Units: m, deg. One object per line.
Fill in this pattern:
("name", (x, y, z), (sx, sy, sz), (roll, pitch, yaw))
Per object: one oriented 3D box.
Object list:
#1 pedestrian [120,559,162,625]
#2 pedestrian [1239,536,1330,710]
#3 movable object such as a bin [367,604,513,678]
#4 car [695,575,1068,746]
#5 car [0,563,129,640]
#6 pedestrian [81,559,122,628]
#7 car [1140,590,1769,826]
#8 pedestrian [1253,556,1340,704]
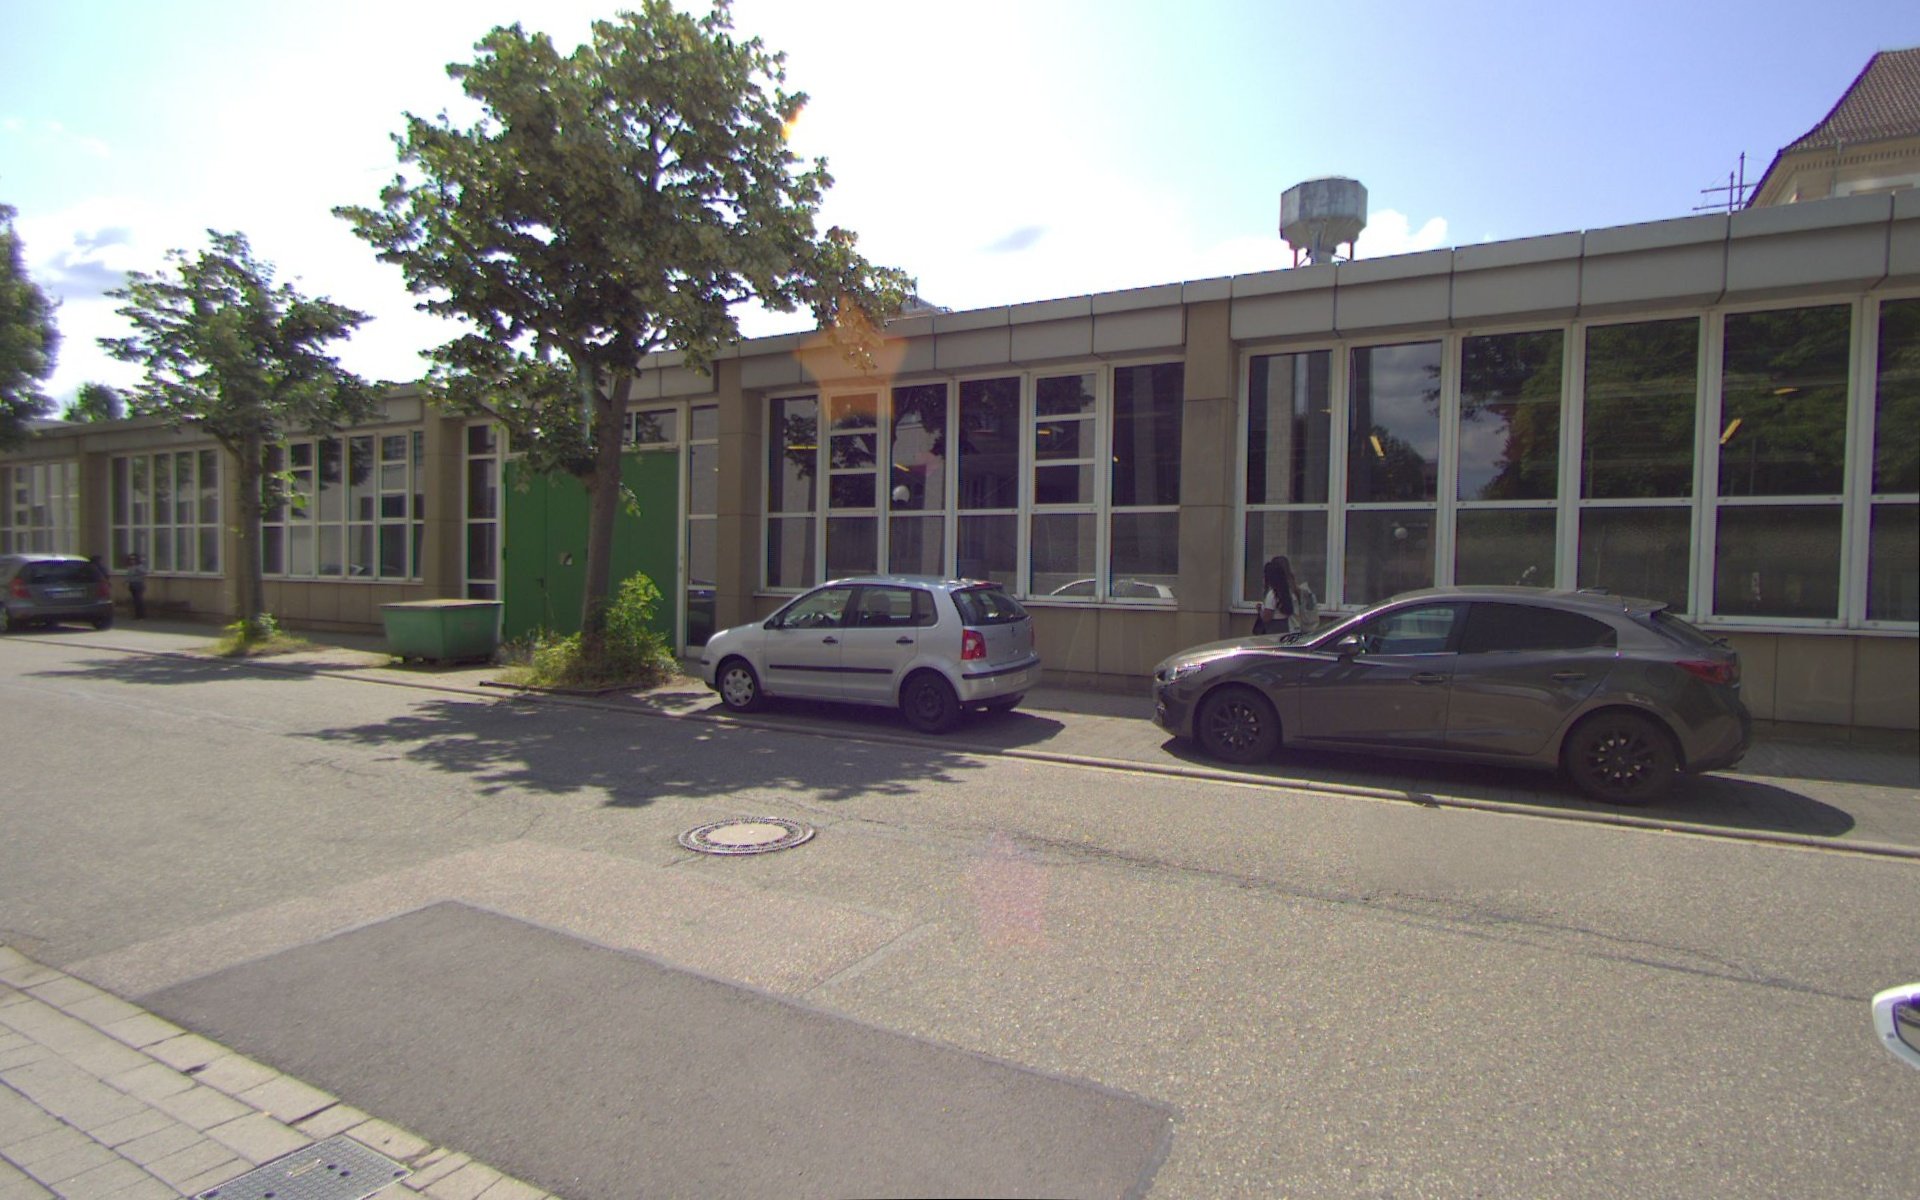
("pedestrian", (-20.152, -0.197, 24.719), (0.541, 1.601, 0.605), (1, -1, 27))
("pedestrian", (3.404, 0.222, 10.532), (0.783, 1.751, 0.600), (2, 1, 28))
("movable object such as a bin", (-8.024, 0.604, 15.522), (1.666, 0.998, 1.293), (1, 3, 30))
("car", (-0.866, 0.518, 10.732), (3.684, 1.469, 1.632), (2, 4, 29))
("car", (-19.839, -0.031, 21.578), (3.609, 1.469, 1.801), (2, 4, 29))
("pedestrian", (-20.426, -0.144, 23.914), (0.598, 1.601, 0.547), (2, -1, -30))
("car", (3.788, 0.687, 8.285), (4.212, 1.455, 1.727), (1, 3, 29))
("pedestrian", (3.713, 0.303, 11.082), (0.783, 1.562, 0.663), (2, 1, 28))
